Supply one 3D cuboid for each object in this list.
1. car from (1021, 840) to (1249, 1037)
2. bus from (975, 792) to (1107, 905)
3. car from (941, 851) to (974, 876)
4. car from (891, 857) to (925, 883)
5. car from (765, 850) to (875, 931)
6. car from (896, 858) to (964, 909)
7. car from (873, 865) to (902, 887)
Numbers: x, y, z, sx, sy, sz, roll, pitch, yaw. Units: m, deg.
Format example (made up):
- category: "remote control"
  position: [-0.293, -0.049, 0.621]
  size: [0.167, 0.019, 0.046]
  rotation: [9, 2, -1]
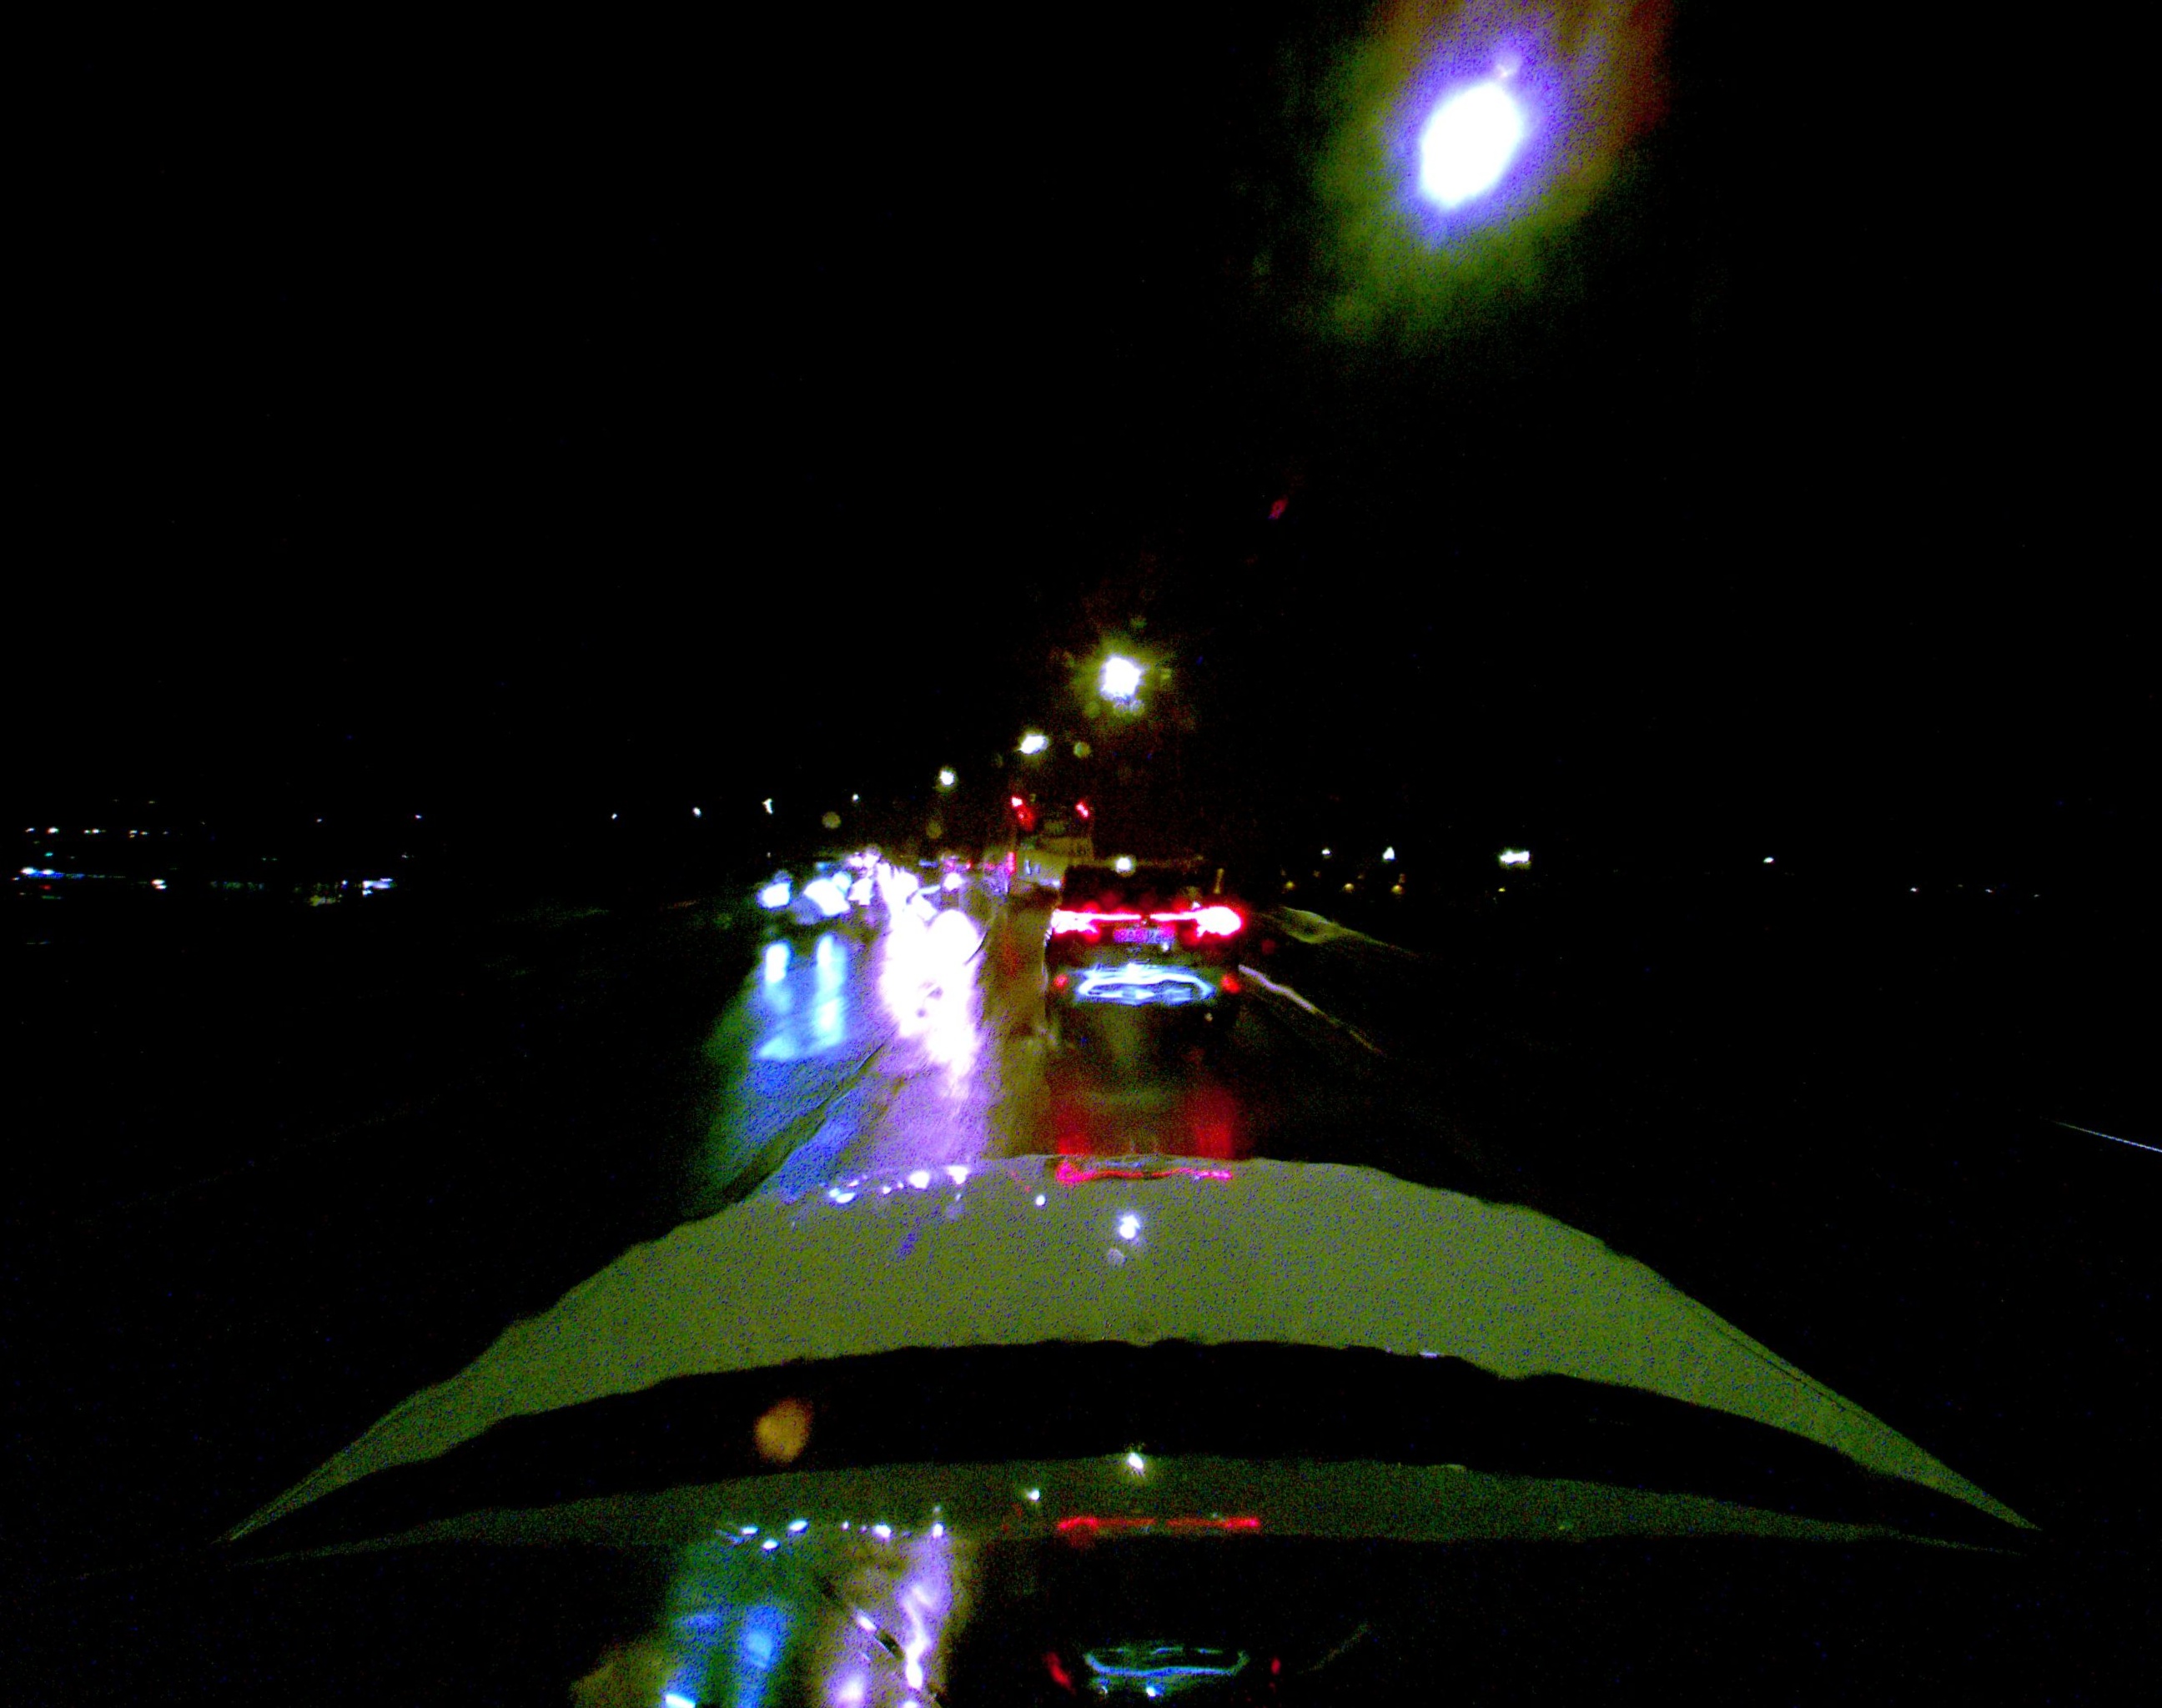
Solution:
- category: "car"
  position: [0.363, 0.712, 8.633]
  size: [1.851, 1.586, 3.996]
  rotation: [1, -1, -3]
- category: "bus"
  position: [-1.888, -0.200, 28.969]
  size: [3.084, 3.132, 12.652]
  rotation: [0, 0, -10]
- category: "car"
  position: [-8.971, 0.716, 58.926]
  size: [1.641, 1.655, 3.686]
  rotation: [-3, 0, -19]
- category: "car"
  position: [-9.731, 0.866, 45.954]
  size: [1.682, 1.391, 4.436]
  rotation: [1, -1, -10]
- category: "car"
  position: [-5.648, 0.730, 17.951]
  size: [1.467, 1.584, 3.188]
  rotation: [0, 1, -2]
- category: "car"
  position: [-4.777, 0.881, 26.191]
  size: [1.894, 1.439, 4.053]
  rotation: [-1, 0, -7]
- category: "car"
  position: [-14.212, 1.584, 60.027]
  size: [1.815, 1.404, 4.033]
  rotation: [-1, 1, -11]
